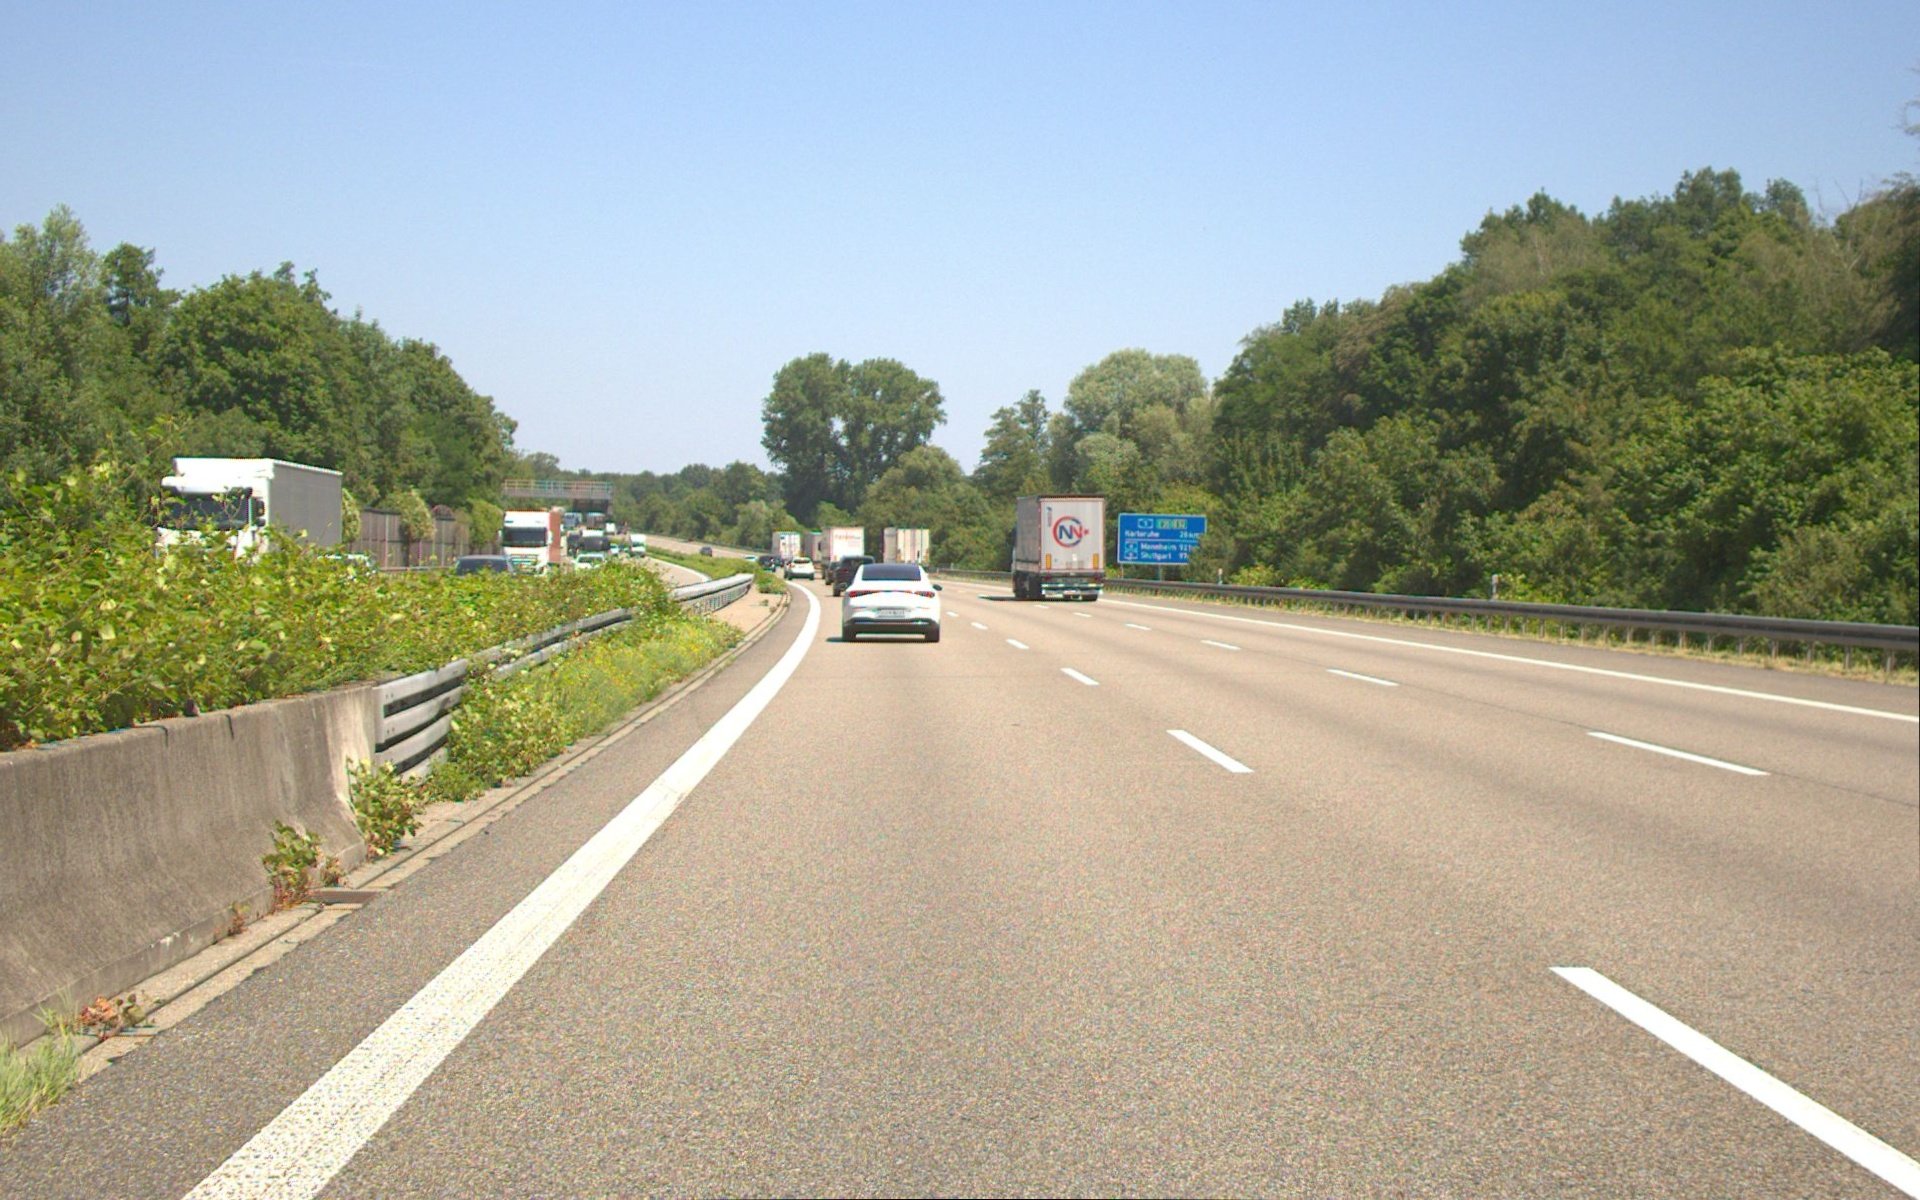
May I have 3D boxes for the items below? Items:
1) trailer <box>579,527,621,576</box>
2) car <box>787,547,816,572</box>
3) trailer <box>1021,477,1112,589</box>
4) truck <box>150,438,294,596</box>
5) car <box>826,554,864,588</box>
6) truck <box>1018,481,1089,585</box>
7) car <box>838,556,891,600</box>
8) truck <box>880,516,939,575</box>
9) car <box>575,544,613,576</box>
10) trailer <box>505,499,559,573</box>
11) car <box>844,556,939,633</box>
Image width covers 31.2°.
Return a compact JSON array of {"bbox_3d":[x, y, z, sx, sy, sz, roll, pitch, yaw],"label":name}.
[{"bbox_3d":[-19.631,-2.669,187.649,2.085,2.604,4.957,1,1,-3],"label":"trailer"},{"bbox_3d":[-11.659,-2.968,252.707,1.723,1.777,4.001,1,1,-8],"label":"car"},{"bbox_3d":[4.170,-2.649,137.865,2.624,4.246,14.062,1,1,-2],"label":"trailer"},{"bbox_3d":[-19.443,-2.157,90.885,2.660,3.971,6.555,1,1,-3],"label":"truck"},{"bbox_3d":[-6.916,-1.741,206.506,1.993,2.007,4.001,1,1,-5],"label":"car"},{"bbox_3d":[3.907,-2.808,145.022,2.605,4.272,5.436,1,1,-2],"label":"truck"},{"bbox_3d":[-4.028,-0.948,144.854,1.993,1.766,4.001,1,1,-5],"label":"car"},{"bbox_3d":[-3.895,-4.136,261.611,3.492,4.296,10.991,1,1,-6],"label":"truck"},{"bbox_3d":[-19.478,-2.128,183.130,1.835,1.626,4.020,1,1,-3],"label":"car"},{"bbox_3d":[-24.006,-3.568,193.097,2.688,4.028,6.038,1,1,-5],"label":"trailer"},{"bbox_3d":[-1.271,-0.122,64.527,1.715,1.365,3.375,1,1,-1],"label":"car"}]
